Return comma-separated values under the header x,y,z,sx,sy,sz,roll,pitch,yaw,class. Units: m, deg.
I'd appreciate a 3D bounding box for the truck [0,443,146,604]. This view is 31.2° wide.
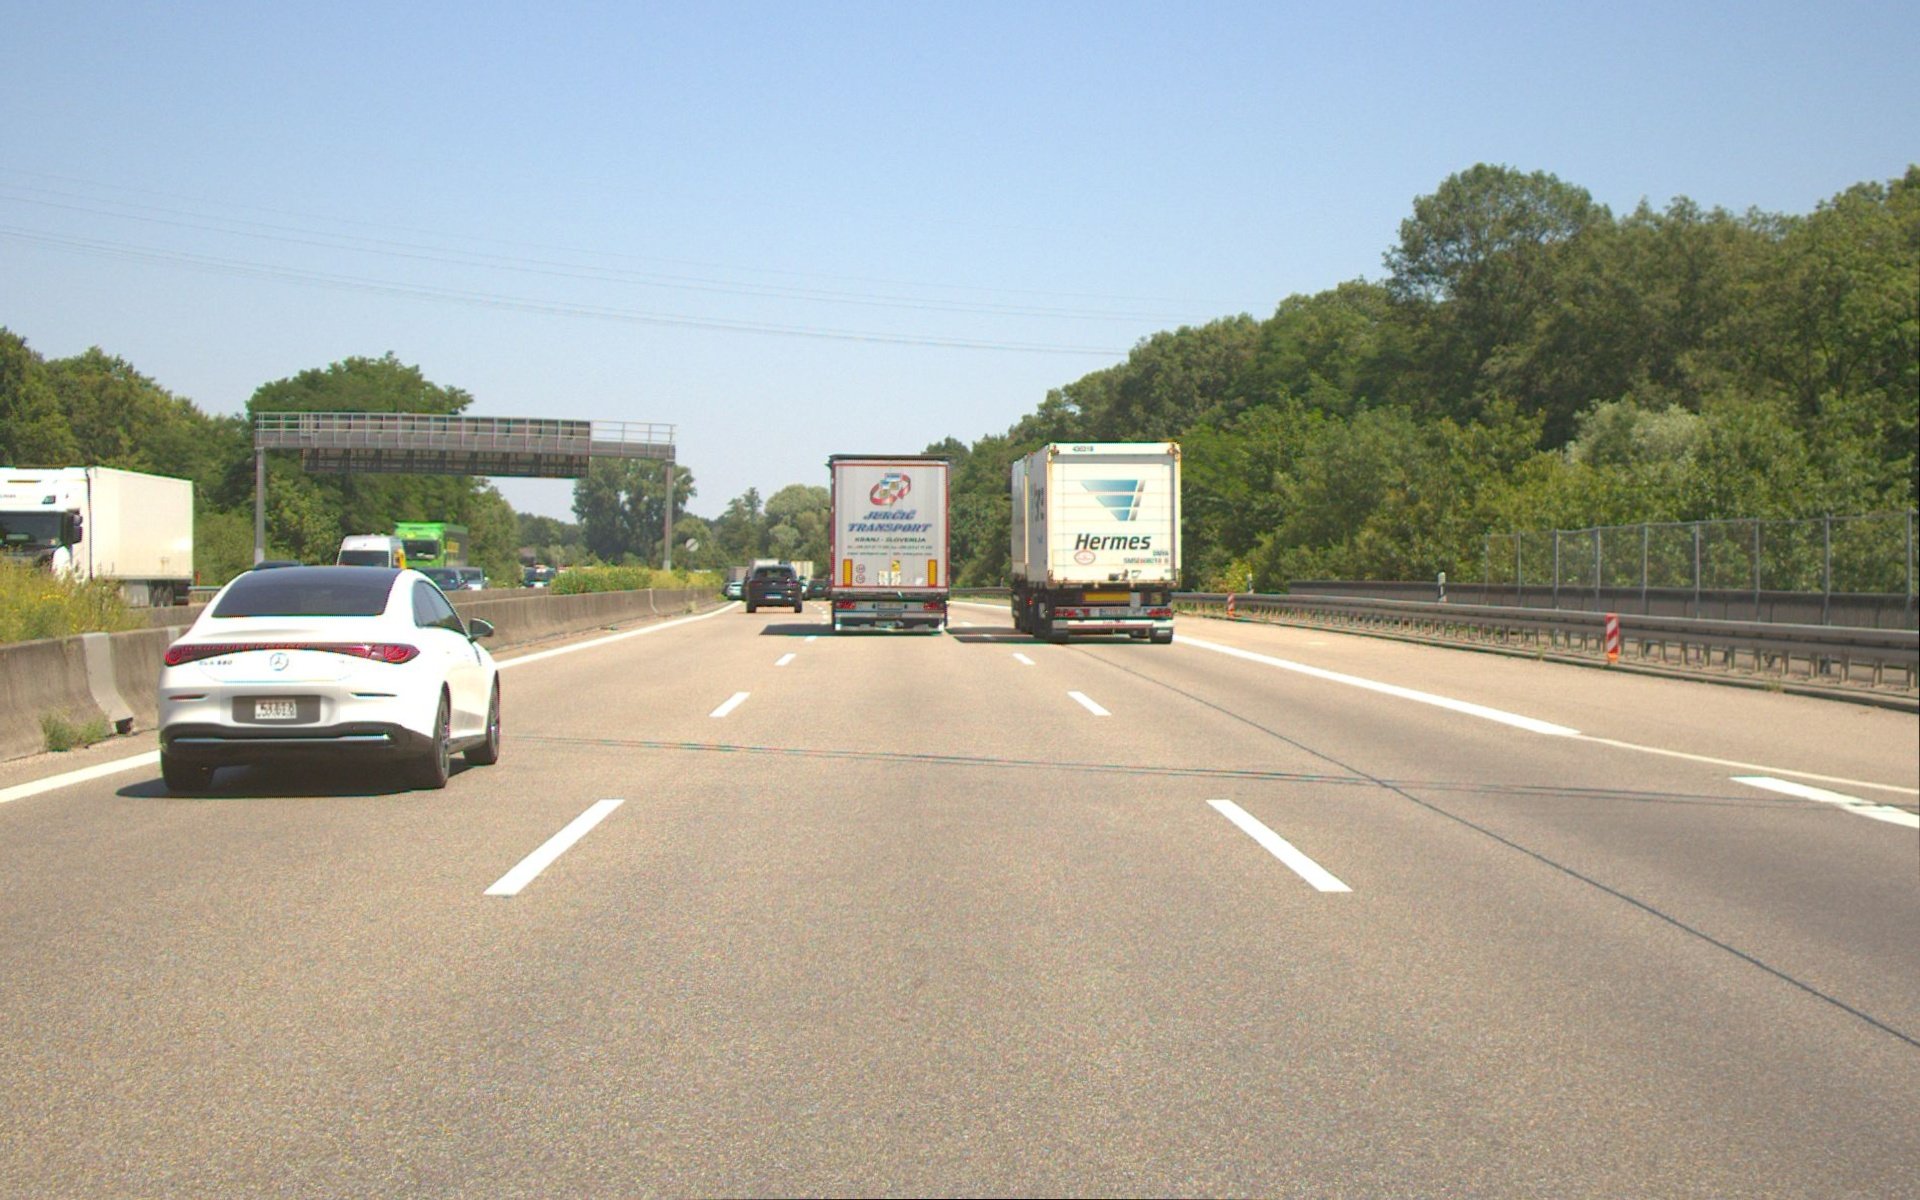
x,y,z,sx,sy,sz,roll,pitch,yaw,class
-23.471,-1.946,88.918,3.048,3.963,8.288,0,1,-1,truck

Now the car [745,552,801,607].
x,y,z,sx,sy,sz,roll,pitch,yaw,class
-6.748,-0.770,124.143,1.993,1.867,4.001,0,2,-3,car

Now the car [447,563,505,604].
x,y,z,sx,sy,sz,roll,pitch,yaw,class
-20.630,-0.722,146.710,1.999,1.706,4.540,0,0,-2,car

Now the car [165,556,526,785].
x,y,z,sx,sy,sz,roll,pitch,yaw,class
-4.288,0.425,24.745,1.767,1.443,5.109,1,1,-1,car

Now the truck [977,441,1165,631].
x,y,z,sx,sy,sz,roll,pitch,yaw,class
2.393,-1.518,78.909,3.325,4.039,10.956,0,2,-3,truck

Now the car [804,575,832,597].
x,y,z,sx,sy,sz,roll,pitch,yaw,class
-10.385,-1.009,250.994,1.993,1.590,4.001,0,1,-3,car

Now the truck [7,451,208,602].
x,y,z,sx,sy,sz,roll,pitch,yaw,class
-23.664,-2.028,96.090,3.048,3.963,11.150,0,1,-1,truck

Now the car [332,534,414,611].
x,y,z,sx,sy,sz,roll,pitch,yaw,class
-20.263,-0.959,118.960,1.993,2.559,6.129,0,0,-2,car

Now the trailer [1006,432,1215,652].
x,y,z,sx,sy,sz,roll,pitch,yaw,class
2.914,-1.231,69.529,3.367,4.128,9.093,0,2,-3,trailer

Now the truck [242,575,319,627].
x,y,z,sx,sy,sz,roll,pitch,yaw,class
-24.360,0.027,123.364,1.993,1.794,4.743,0,0,-3,truck

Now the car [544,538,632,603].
x,y,z,sx,sy,sz,roll,pitch,yaw,class
-11.748,-0.933,108.851,2.292,2.007,4.711,0,1,0,car

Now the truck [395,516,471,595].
x,y,z,sx,sy,sz,roll,pitch,yaw,class
-27.038,-2.302,176.616,2.922,3.927,6.499,1,1,-1,truck

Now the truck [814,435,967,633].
x,y,z,sx,sy,sz,roll,pitch,yaw,class
-1.630,-1.509,77.285,3.229,4.187,8.467,0,2,-2,truck
